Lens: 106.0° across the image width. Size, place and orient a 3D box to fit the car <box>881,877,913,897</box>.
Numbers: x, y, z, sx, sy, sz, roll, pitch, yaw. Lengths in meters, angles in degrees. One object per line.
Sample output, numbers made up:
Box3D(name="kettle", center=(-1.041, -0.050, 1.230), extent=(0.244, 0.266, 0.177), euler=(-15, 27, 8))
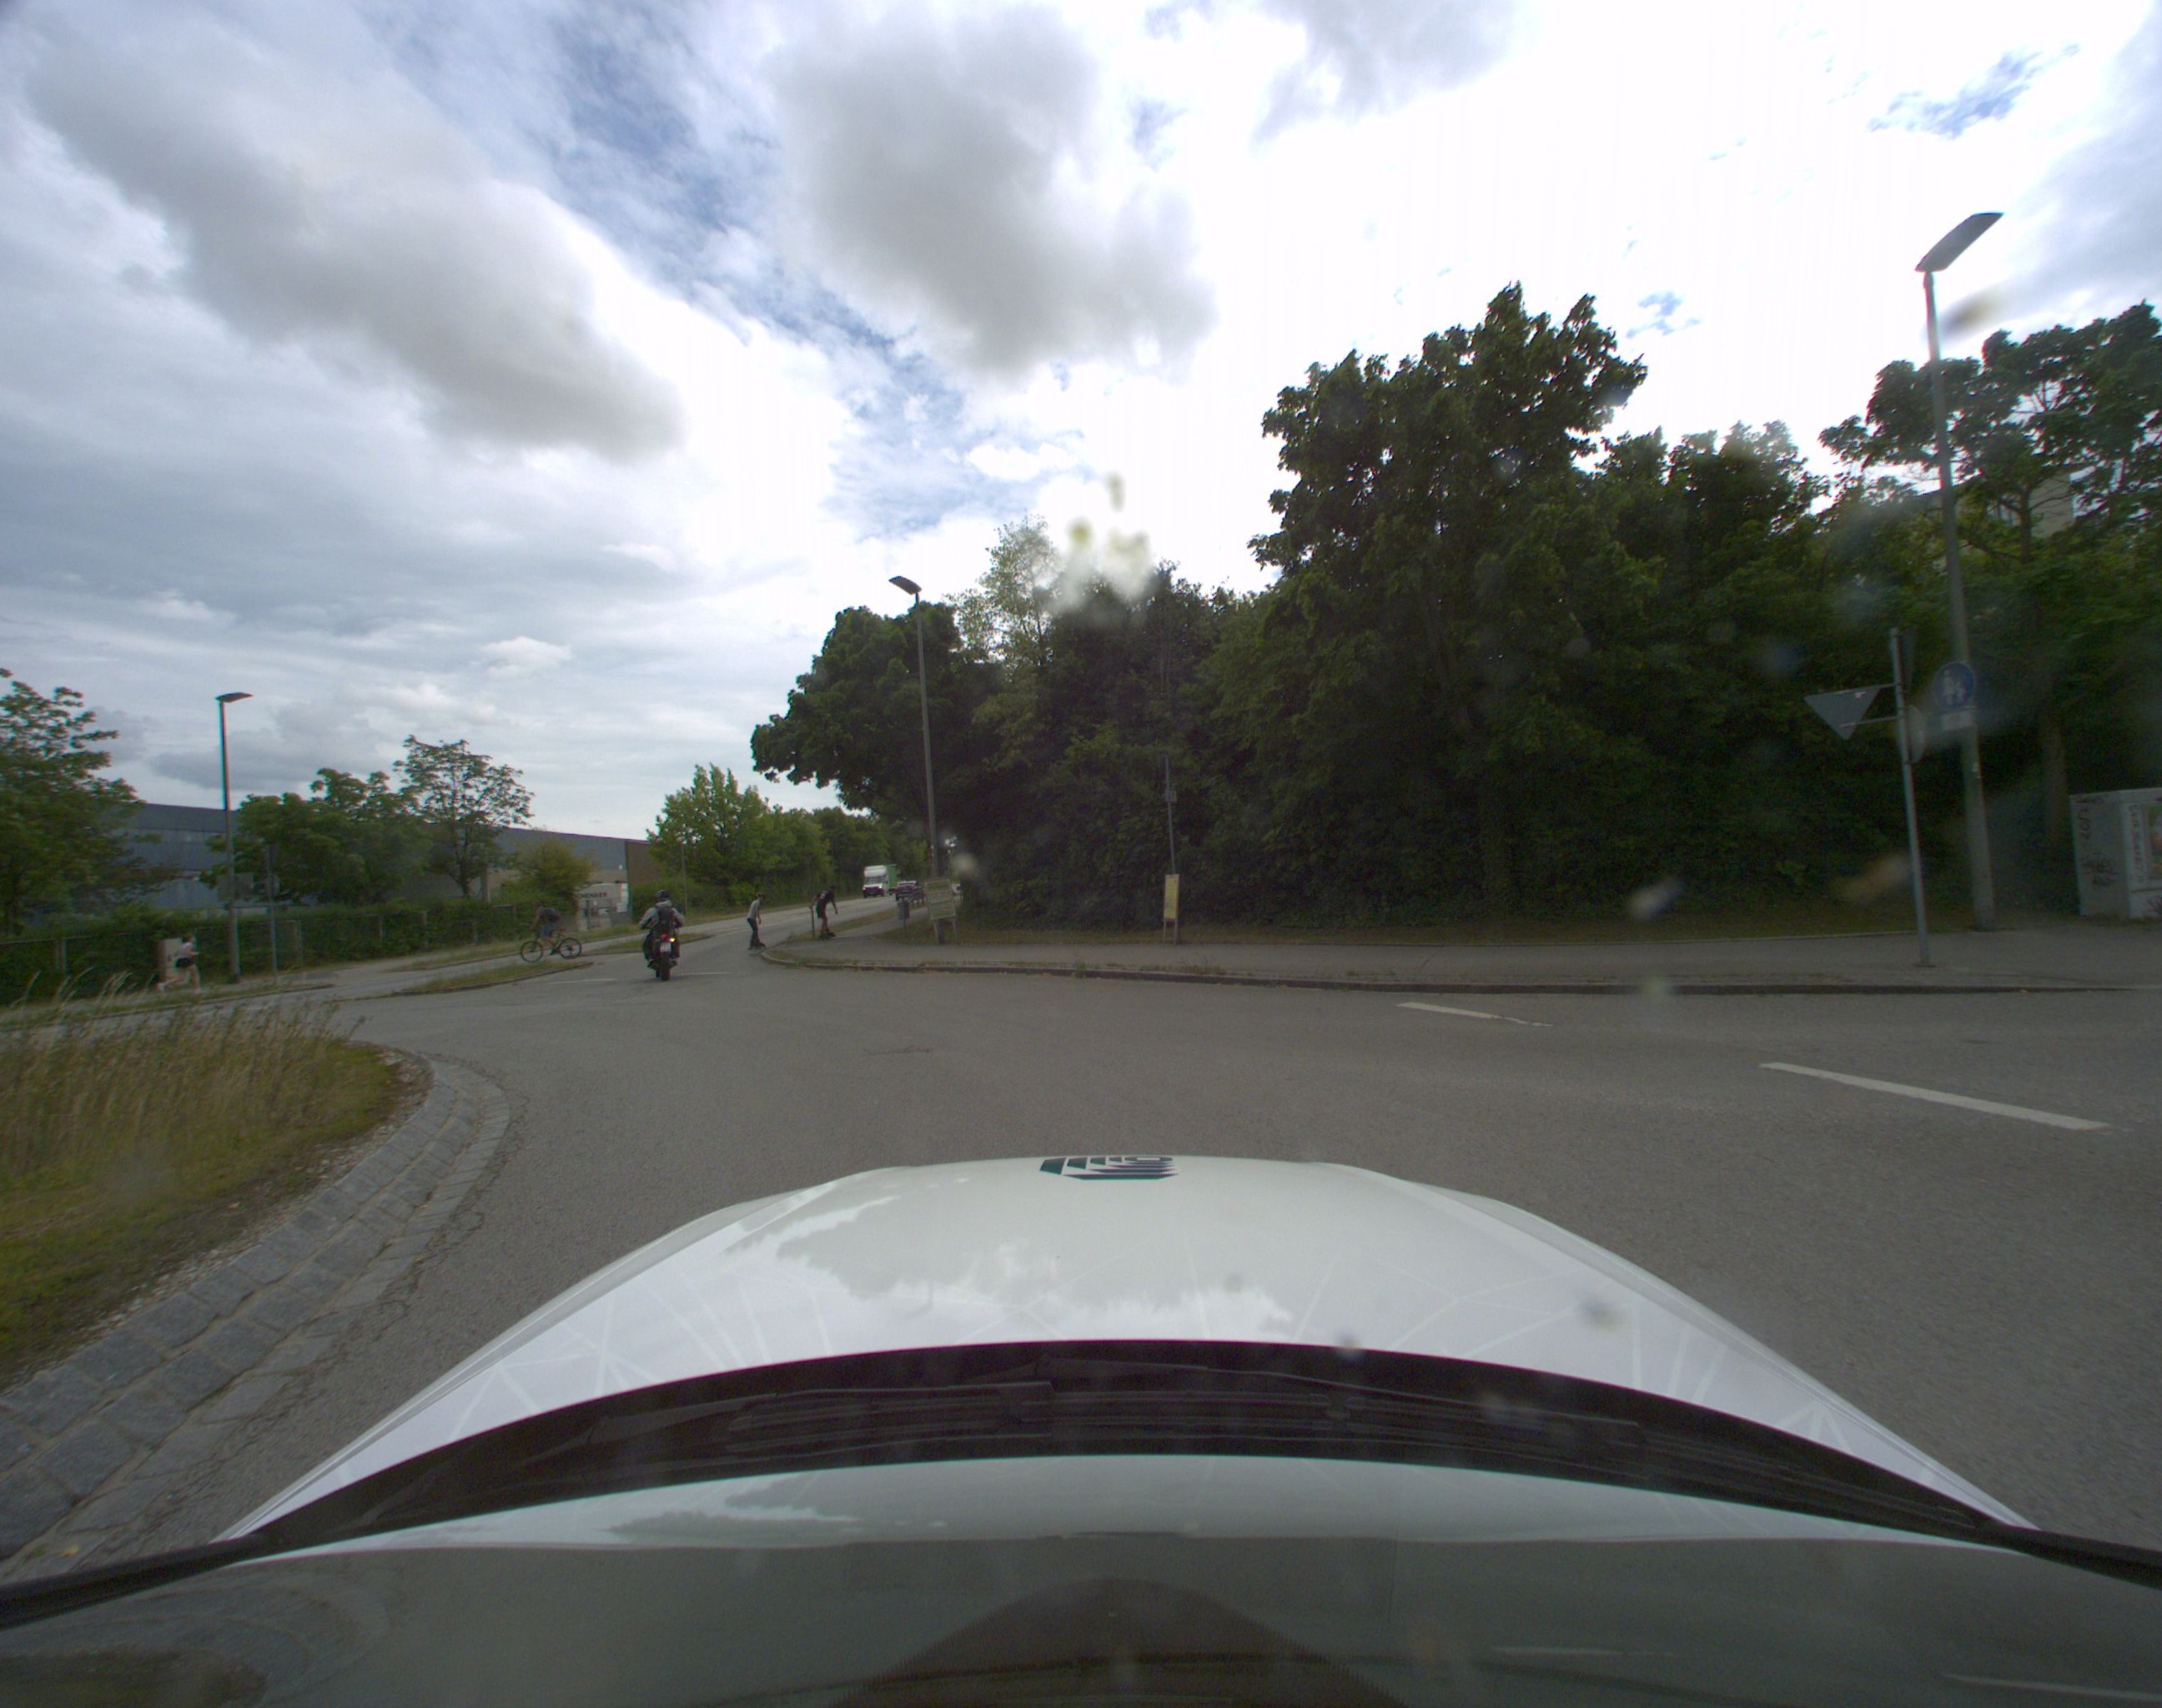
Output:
Box3D(name="car", center=(-22.939, 4.126, 101.837), extent=(2.673, 2.173, 5.992), euler=(-4, -1, -3))

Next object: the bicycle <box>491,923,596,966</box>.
Box3D(name="bicycle", center=(-16.213, 2.710, 24.632), extent=(2.507, 1.089, 0.765), euler=(-1, -2, -21))

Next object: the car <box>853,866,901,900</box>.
Box3D(name="car", center=(-21.244, 3.000, 85.210), extent=(3.163, 3.204, 7.626), euler=(-4, -1, -2))

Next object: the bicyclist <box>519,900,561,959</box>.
Box3D(name="bicyclist", center=(-16.340, 2.261, 24.600), extent=(0.919, 1.723, 0.654), euler=(-1, -2, -20))

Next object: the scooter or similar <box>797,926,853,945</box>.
Box3D(name="scooter or similar", center=(-7.997, 2.546, 25.482), extent=(1.212, 0.380, 1.134), euler=(-6, -1, 20))

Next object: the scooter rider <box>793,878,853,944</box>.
Box3D(name="scooter rider", center=(-8.067, 1.775, 25.503), extent=(1.211, 1.910, 1.134), euler=(-6, -1, 20))

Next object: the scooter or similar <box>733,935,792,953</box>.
Box3D(name="scooter or similar", center=(-9.452, 2.666, 24.159), extent=(1.086, 0.364, 1.236), euler=(-5, -1, 37))

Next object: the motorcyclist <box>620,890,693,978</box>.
Box3D(name="motorcyclist", center=(-8.490, 1.572, 16.267), extent=(1.175, 1.623, 0.869), euler=(-5, -2, 42))

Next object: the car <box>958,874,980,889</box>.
Box3D(name="car", center=(-16.853, 4.113, 123.037), extent=(2.507, 1.947, 5.706), euler=(-4, -1, -2))

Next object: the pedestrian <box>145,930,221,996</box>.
Box3D(name="pedestrian", center=(-23.505, 2.838, 21.343), extent=(0.783, 1.544, 1.043), euler=(-4, -1, -4))

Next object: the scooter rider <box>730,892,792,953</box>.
Box3D(name="scooter rider", center=(-9.505, 2.023, 24.181), extent=(1.086, 1.672, 1.253), euler=(-5, -2, 37))

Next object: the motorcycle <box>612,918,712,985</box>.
Box3D(name="motorcycle", center=(-8.364, 1.904, 16.186), extent=(2.587, 1.158, 0.905), euler=(-5, -2, 43))

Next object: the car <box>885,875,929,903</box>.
Box3D(name="car", center=(-13.943, 2.778, 65.609), extent=(2.508, 1.947, 5.702), euler=(-4, -1, -4))
